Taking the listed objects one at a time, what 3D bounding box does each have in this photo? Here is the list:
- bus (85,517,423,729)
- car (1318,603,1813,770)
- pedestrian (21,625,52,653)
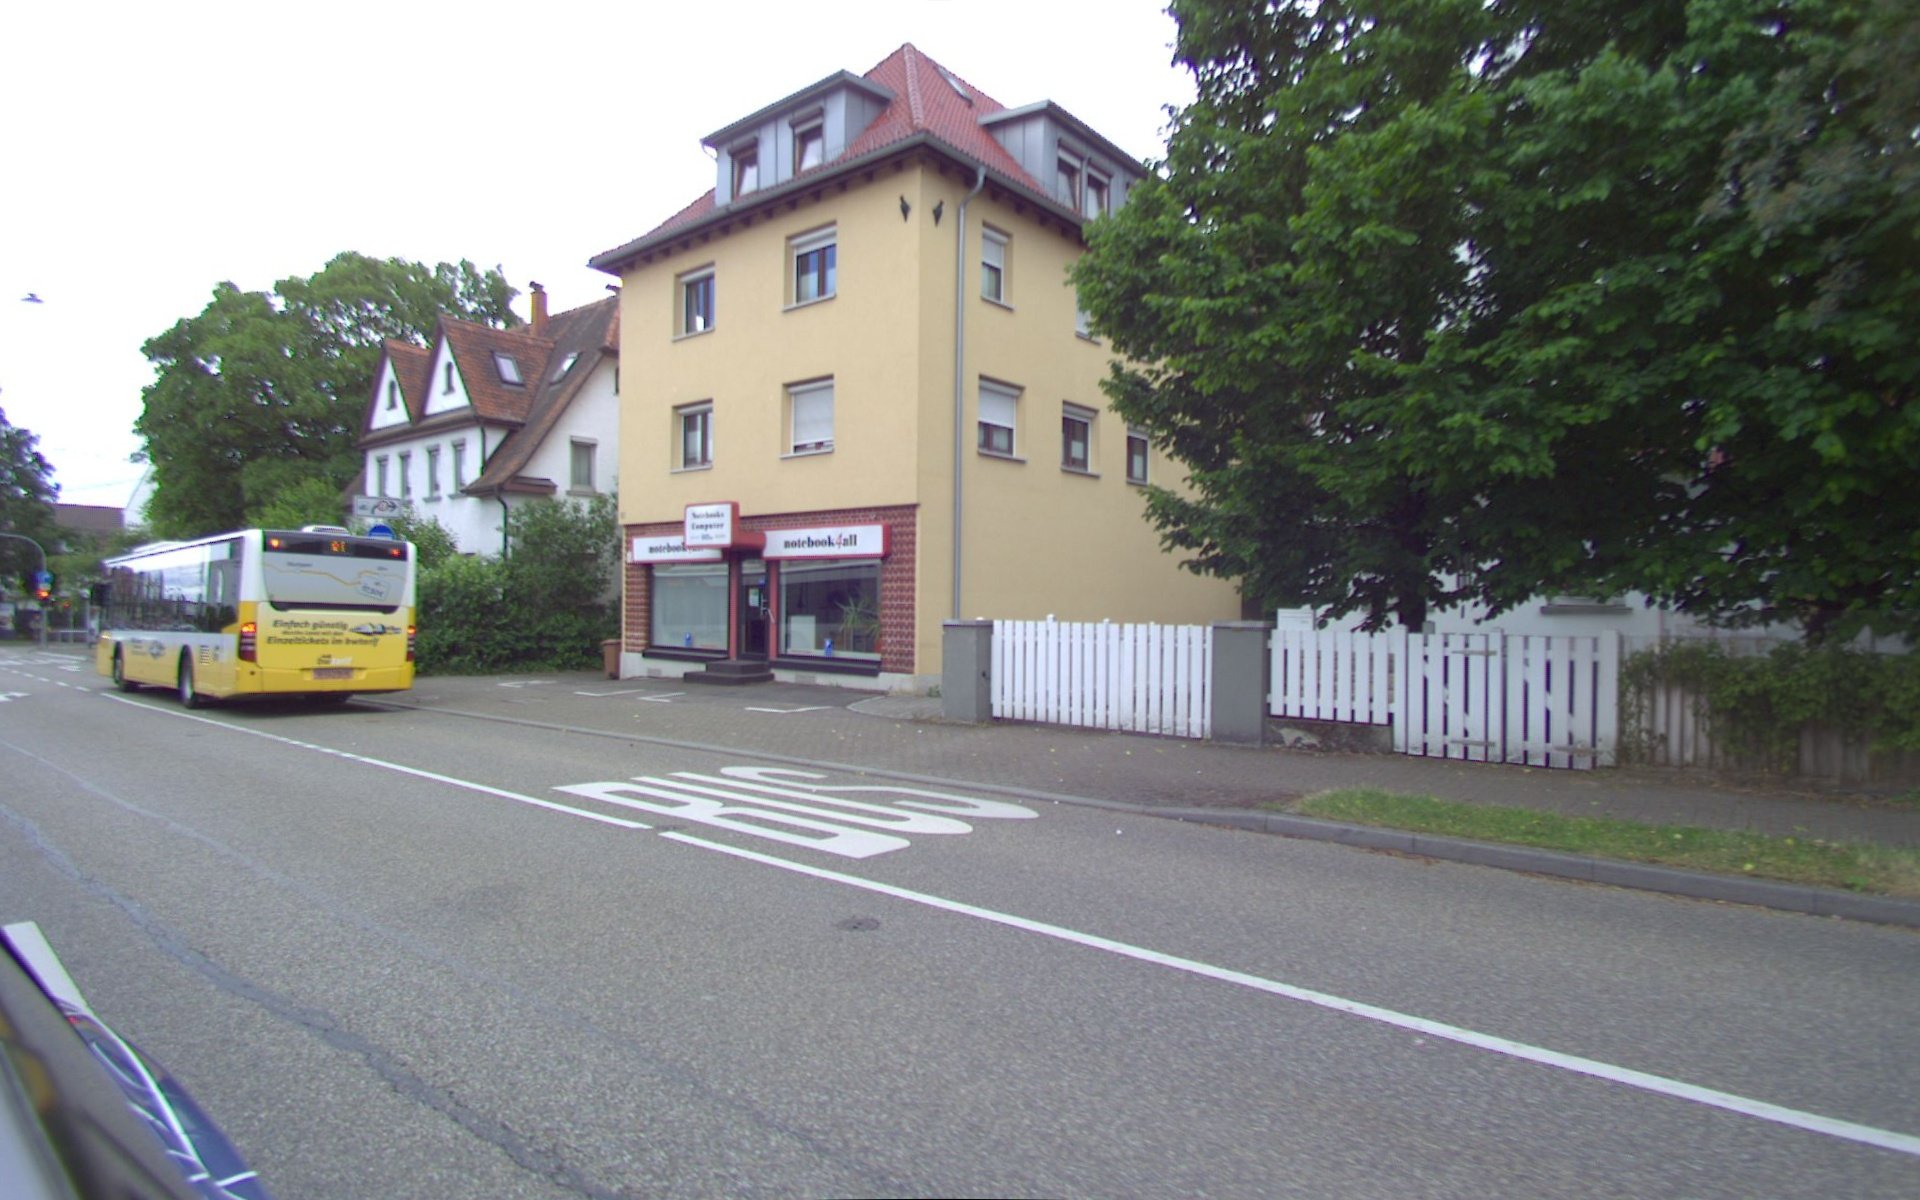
[{"bbox_3d":[-14.360,0.467,19.871,12.064,3.109,2.604,-1,-3,41],"label":"bus"},{"bbox_3d":[6.737,0.899,11.687,4.610,1.576,1.789,-1,-3,37],"label":"car"},{"bbox_3d":[-60.404,2.569,66.185,1.210,1.767,0.825,-1,1,-9],"label":"pedestrian"}]
